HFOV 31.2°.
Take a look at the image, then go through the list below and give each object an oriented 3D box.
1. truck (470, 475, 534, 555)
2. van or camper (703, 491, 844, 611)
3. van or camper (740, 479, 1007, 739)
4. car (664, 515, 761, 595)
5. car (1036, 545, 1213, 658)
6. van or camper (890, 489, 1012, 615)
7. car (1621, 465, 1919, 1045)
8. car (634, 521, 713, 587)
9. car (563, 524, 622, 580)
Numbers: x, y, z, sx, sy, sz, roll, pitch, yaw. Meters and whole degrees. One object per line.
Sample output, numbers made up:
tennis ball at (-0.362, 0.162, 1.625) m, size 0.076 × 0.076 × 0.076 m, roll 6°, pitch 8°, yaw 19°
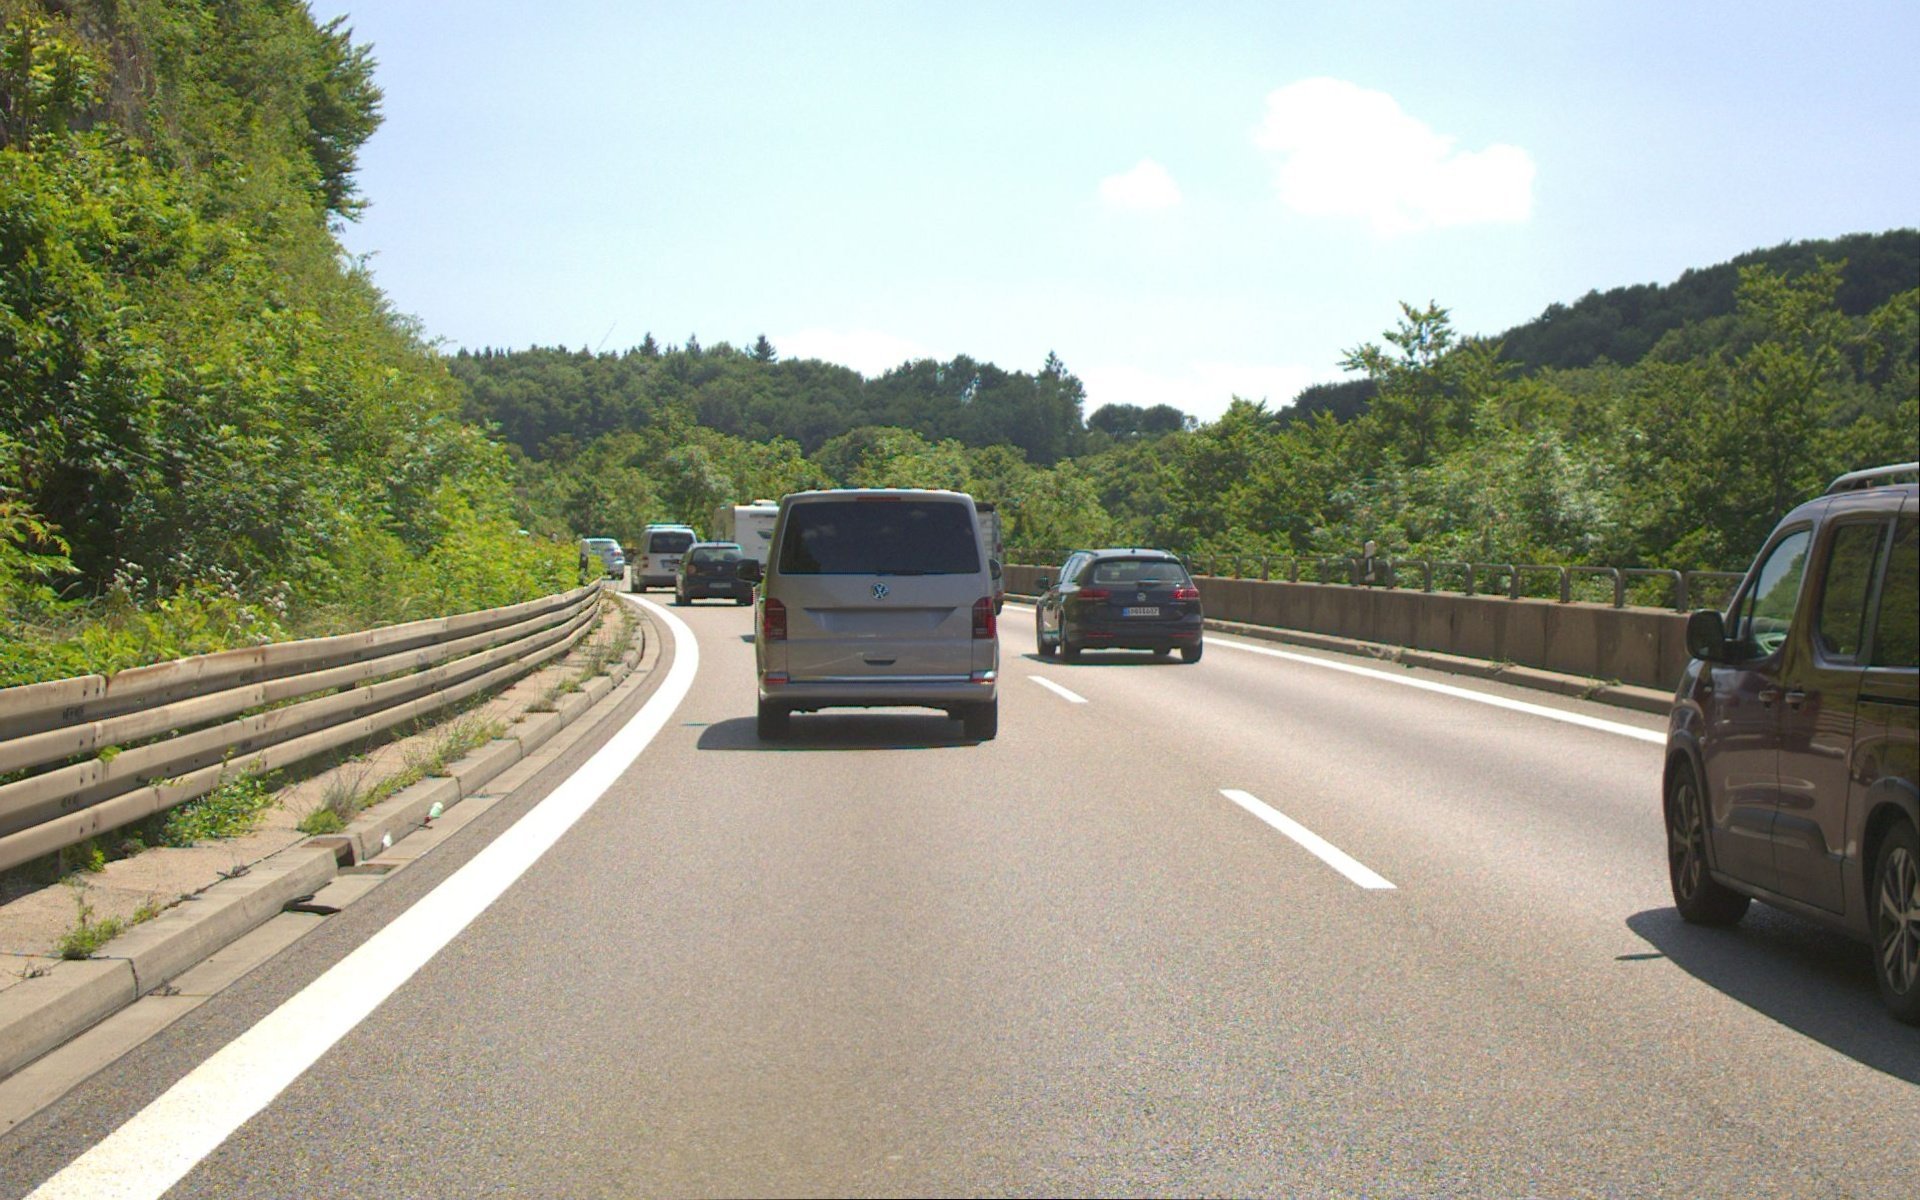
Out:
truck at (-26.600, -4.888, 199.485) m, size 3.291 × 4.504 × 7.731 m, roll -1°, pitch 0°, yaw -10°
van or camper at (-6.192, -1.636, 112.831) m, size 3.275 × 3.776 × 8.114 m, roll 0°, pitch 1°, yaw -13°
van or camper at (-0.779, 0.032, 27.902) m, size 1.875 × 1.943 × 4.295 m, roll 0°, pitch 1°, yaw -5°
car at (-5.794, -1.061, 80.034) m, size 1.993 × 1.811 × 4.001 m, roll 1°, pitch 1°, yaw -8°
car at (2.096, -0.011, 44.762) m, size 1.768 × 1.371 × 3.593 m, roll -1°, pitch 1°, yaw -6°
van or camper at (-0.232, -1.011, 72.347) m, size 2.263 × 2.542 × 4.737 m, roll -1°, pitch 1°, yaw -3°
car at (3.803, 0.459, 12.344) m, size 1.833 × 1.778 × 4.676 m, roll 0°, pitch 0°, yaw -2°
car at (-8.066, -1.305, 96.424) m, size 1.993 × 1.811 × 4.001 m, roll 1°, pitch 1°, yaw -8°
car at (-12.895, -1.690, 120.406) m, size 1.993 × 1.908 × 4.001 m, roll 1°, pitch 1°, yaw -7°
